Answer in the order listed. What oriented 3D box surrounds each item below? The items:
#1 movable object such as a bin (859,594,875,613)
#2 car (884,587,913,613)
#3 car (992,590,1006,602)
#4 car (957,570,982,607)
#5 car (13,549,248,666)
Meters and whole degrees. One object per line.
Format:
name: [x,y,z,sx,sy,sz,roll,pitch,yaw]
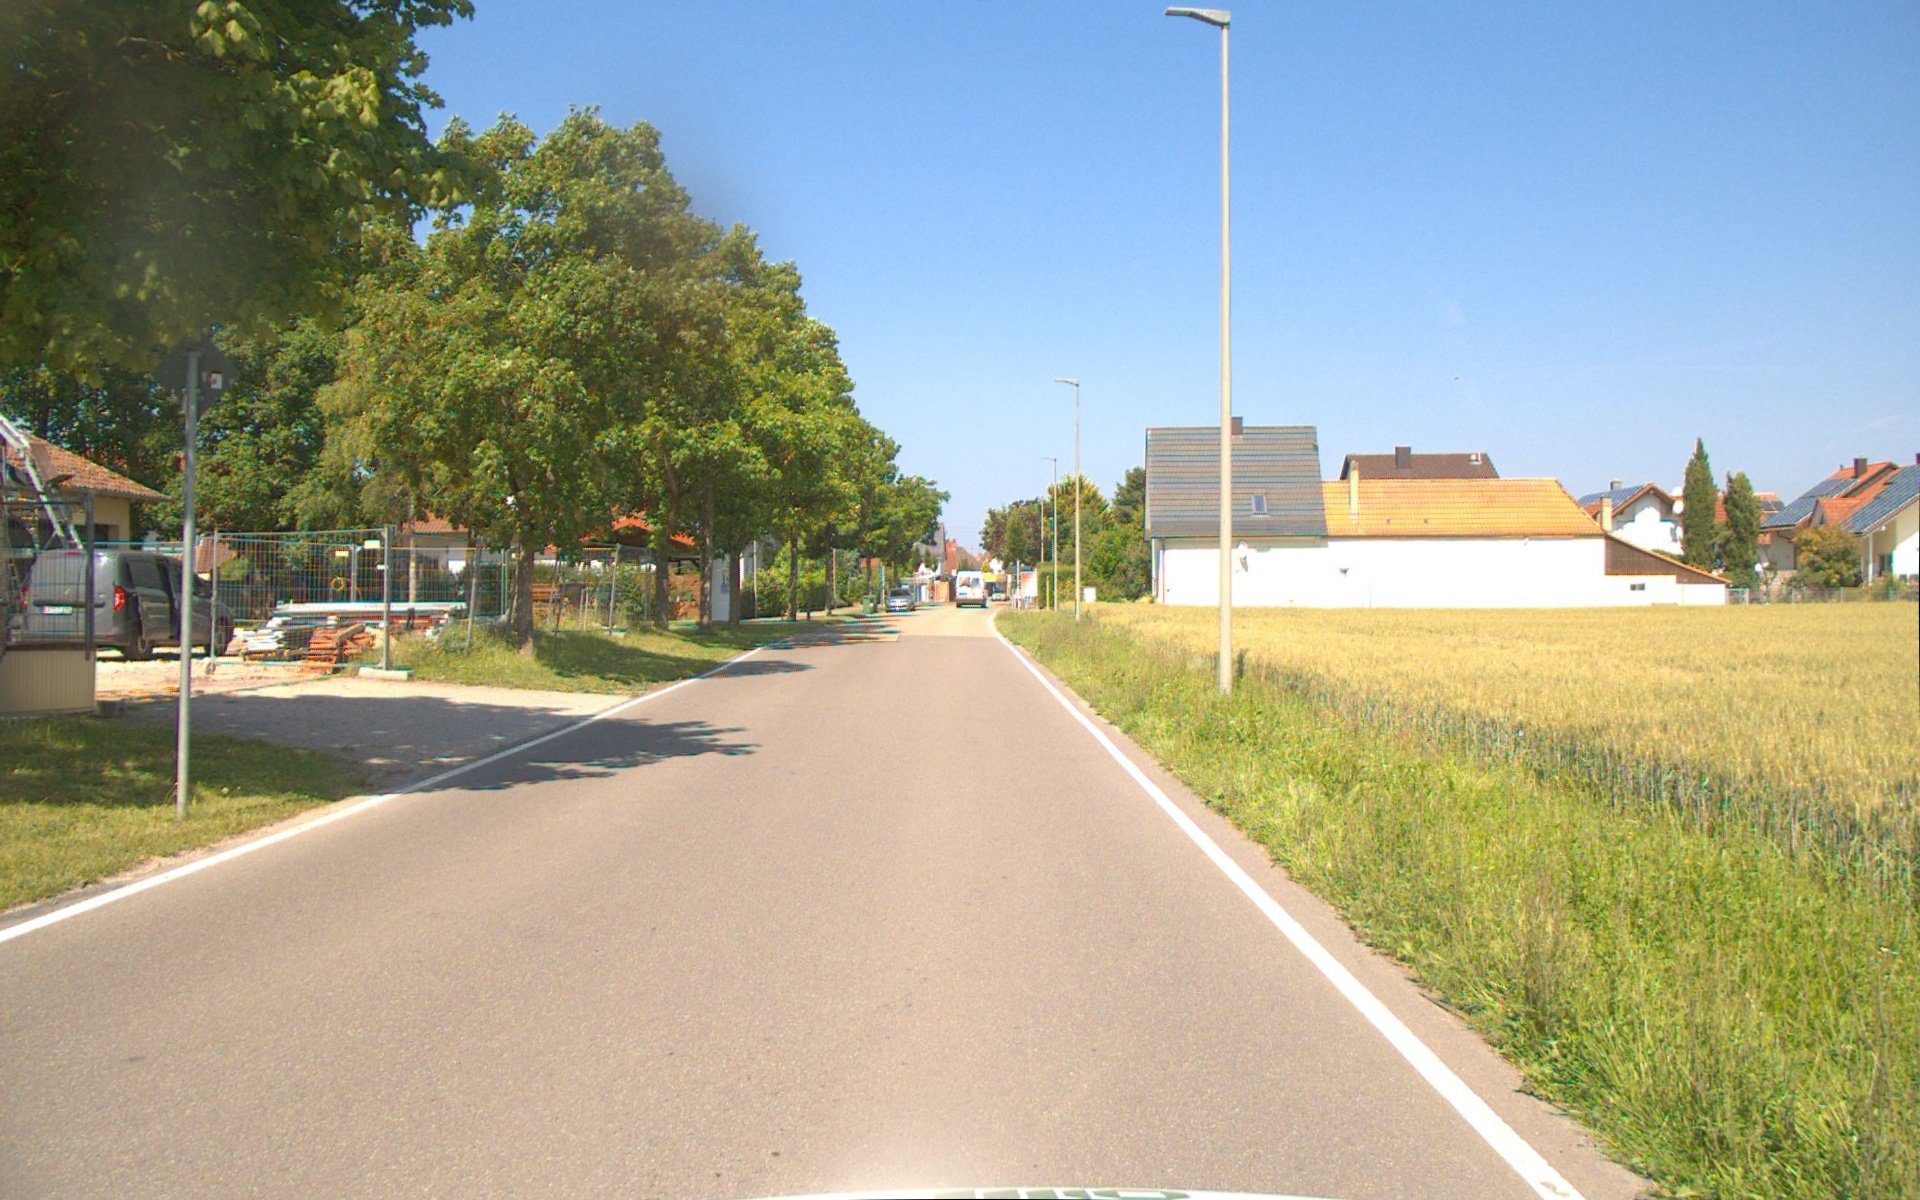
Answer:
movable object such as a bin: [-5.449,0.207,96.864,0.699,1.097,0.639,-1,0,27]
car: [-3.787,-0.009,102.256,1.613,1.448,4.080,-3,0,0]
car: [4.986,-0.519,211.258,1.632,1.550,3.441,-2,0,-1]
car: [0.667,-0.791,115.405,1.702,2.474,4.374,-1,0,1]
car: [-14.167,0.104,28.548,1.930,1.870,4.328,0,0,-1]
